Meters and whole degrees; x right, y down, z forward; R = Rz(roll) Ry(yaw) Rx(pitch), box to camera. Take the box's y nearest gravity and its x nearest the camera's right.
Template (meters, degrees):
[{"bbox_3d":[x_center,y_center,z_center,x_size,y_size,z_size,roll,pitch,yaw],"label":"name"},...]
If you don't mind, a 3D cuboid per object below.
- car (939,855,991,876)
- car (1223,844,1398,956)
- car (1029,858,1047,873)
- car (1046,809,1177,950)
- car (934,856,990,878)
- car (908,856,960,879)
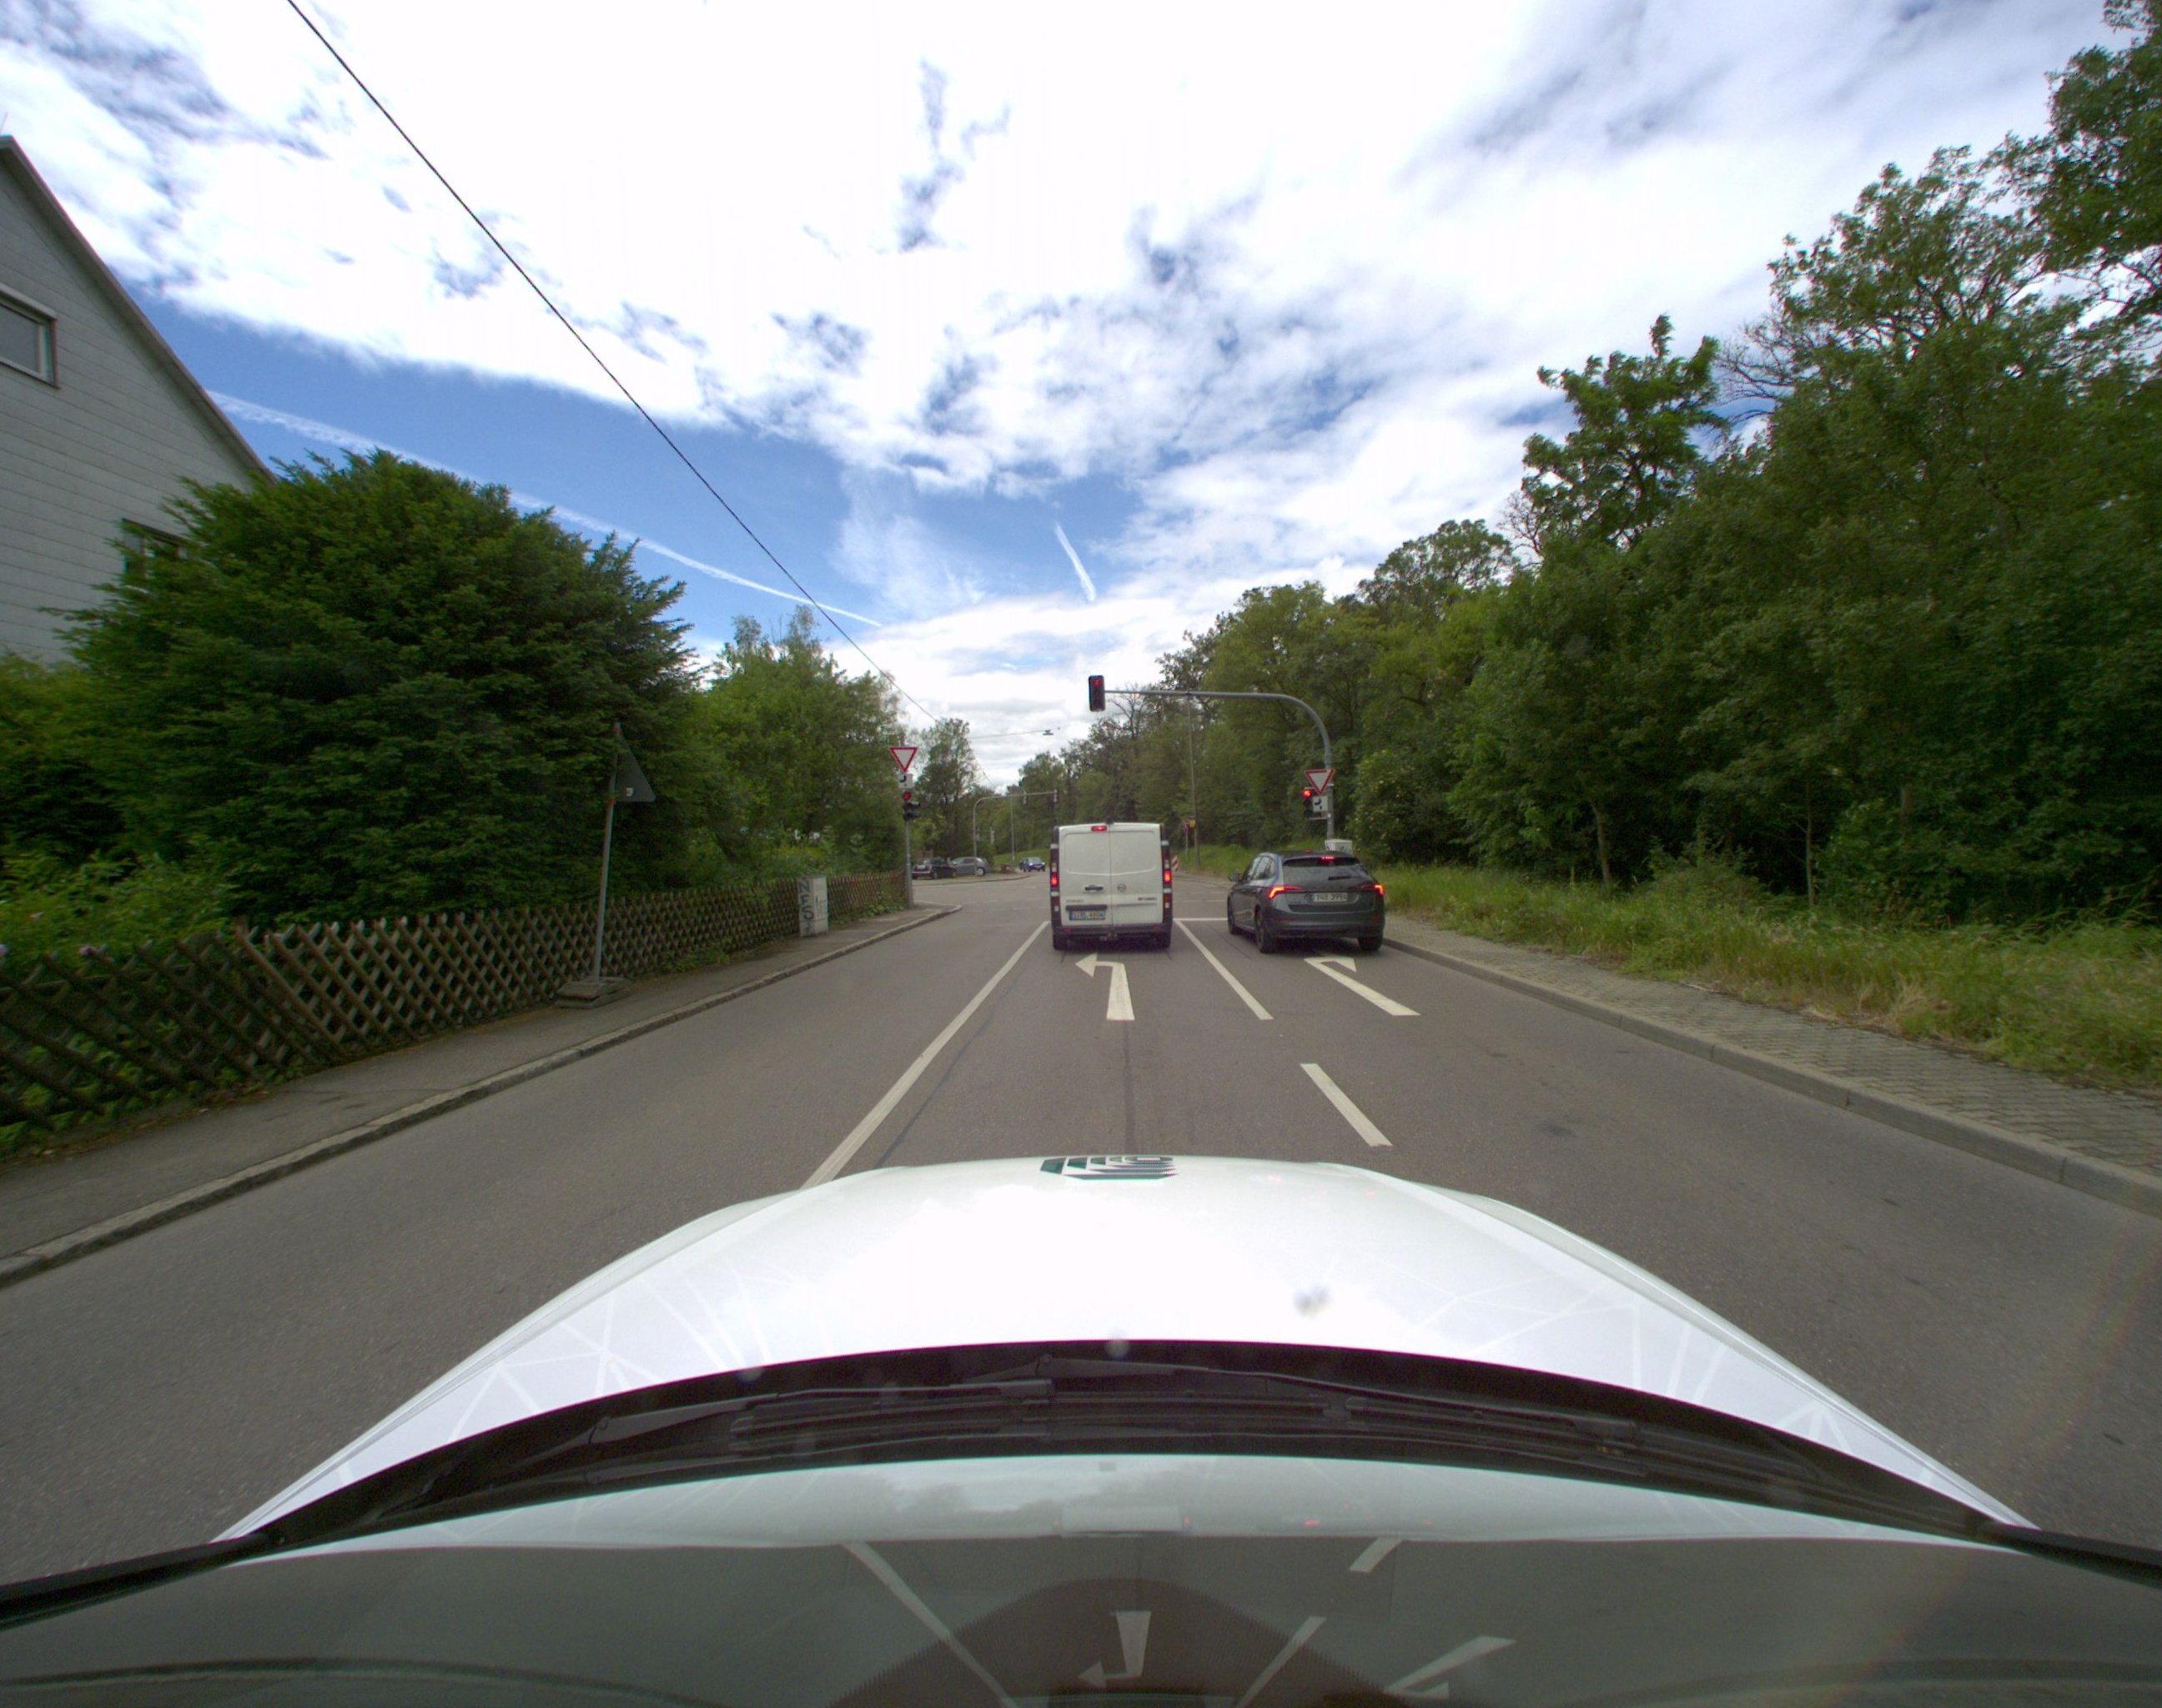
[{"bbox_3d":[-9.566,0.917,67.086,4.093,1.553,1.845,-2,1,-15],"label":"car"},{"bbox_3d":[3.430,0.609,12.940,1.785,1.450,4.003,-2,0,2],"label":"car"},{"bbox_3d":[-4.660,1.247,88.534,1.852,1.507,3.997,-2,0,-2],"label":"car"},{"bbox_3d":[0.452,0.367,14.235,1.910,2.053,4.613,0,0,0],"label":"car"},{"bbox_3d":[-9.386,0.992,64.114,4.093,1.553,1.845,-2,1,-15],"label":"car"},{"bbox_3d":[-9.668,0.877,53.830,1.683,1.449,3.562,0,0,22],"label":"car"}]
